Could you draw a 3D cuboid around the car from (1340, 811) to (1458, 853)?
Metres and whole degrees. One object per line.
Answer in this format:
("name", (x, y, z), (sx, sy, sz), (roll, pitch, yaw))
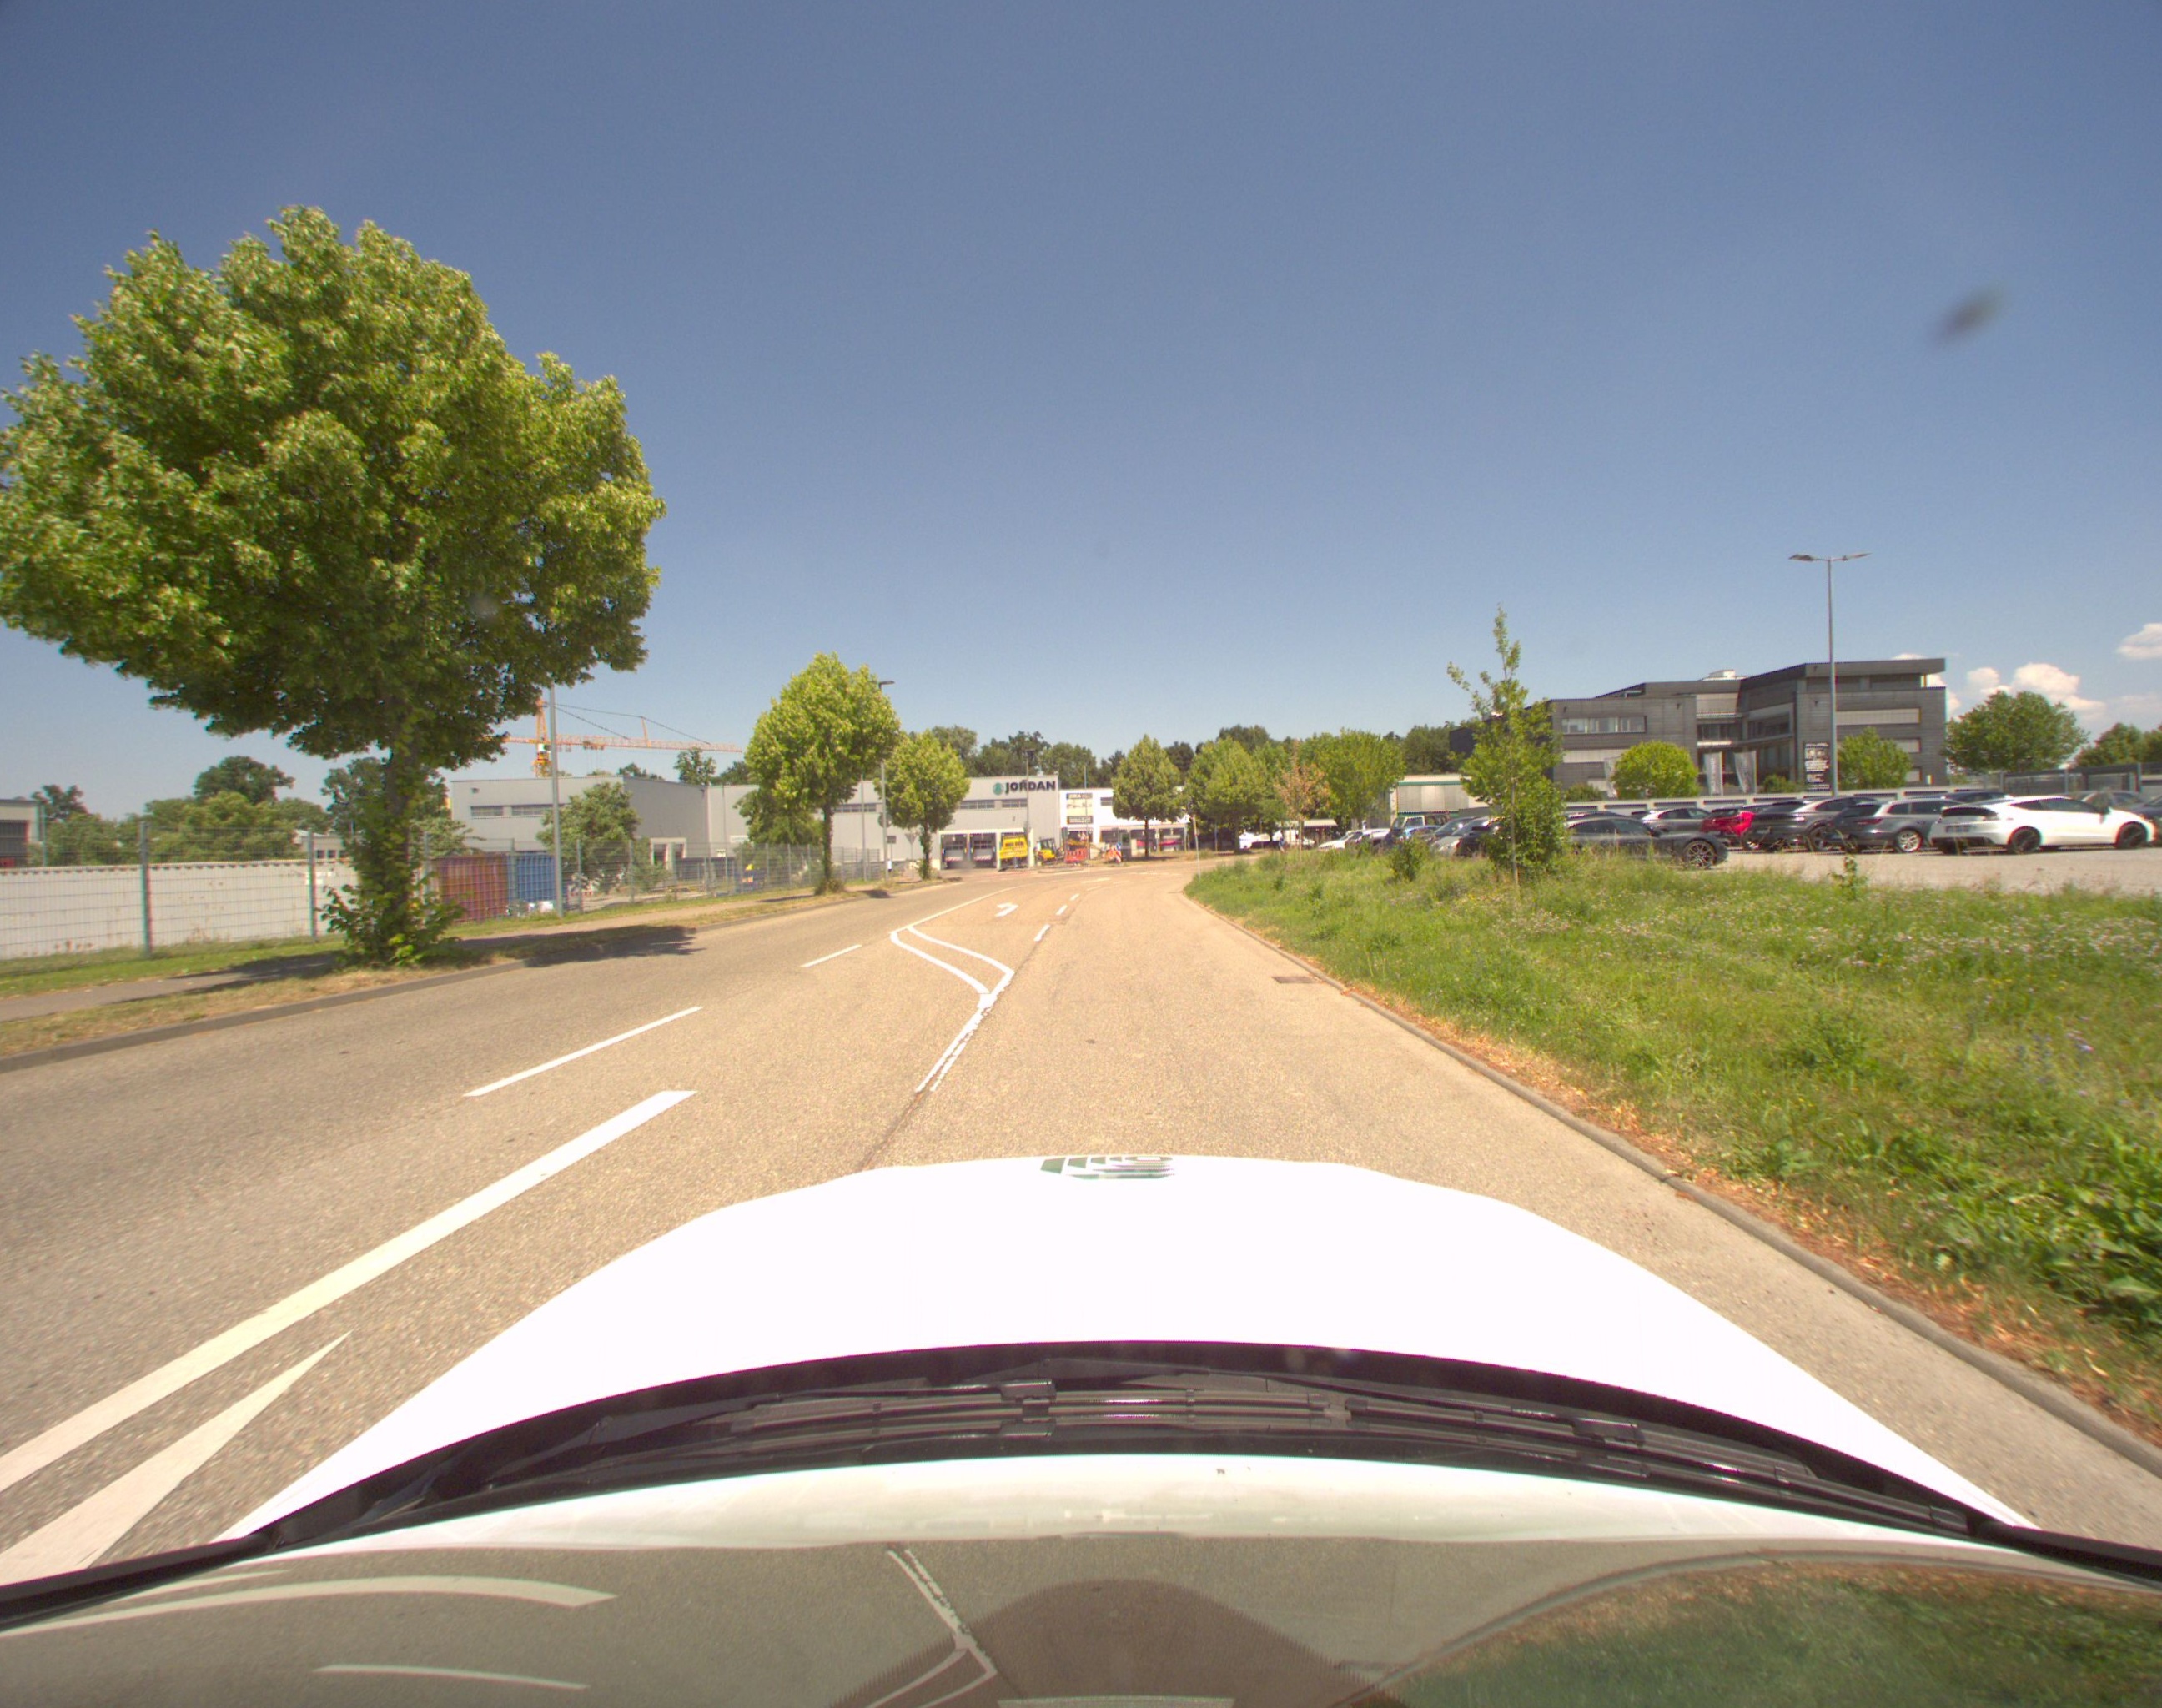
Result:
("car", (13.070, -0.940, 33.601), (4.152, 1.400, 1.768), (-4, 4, -2))

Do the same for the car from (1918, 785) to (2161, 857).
("car", (22.967, -0.815, 19.574), (3.975, 1.400, 1.769), (-4, 4, -1))

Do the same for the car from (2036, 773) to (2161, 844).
("car", (27.762, -1.227, 21.170), (3.977, 1.595, 1.768), (-4, 4, -2))

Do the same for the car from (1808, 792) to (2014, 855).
("car", (22.598, -0.866, 22.269), (3.977, 1.400, 1.768), (-4, 4, -2))

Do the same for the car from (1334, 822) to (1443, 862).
("car", (13.638, -0.554, 36.213), (4.152, 1.400, 1.768), (-4, 4, -2))

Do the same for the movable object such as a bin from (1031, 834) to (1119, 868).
("movable object such as a bin", (-0.497, -0.345, 75.178), (7.481, 2.499, 3.677), (-3, 4, 9))

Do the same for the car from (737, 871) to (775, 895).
("car", (-28.973, 2.570, 72.782), (1.991, 1.551, 3.994), (-4, 4, -5))

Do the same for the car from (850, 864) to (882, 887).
("car", (-19.409, 1.927, 73.638), (1.991, 1.551, 3.994), (-4, 4, -5))

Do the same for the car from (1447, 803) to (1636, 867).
("car", (12.399, -0.564, 22.075), (4.152, 1.400, 1.768), (-4, 4, -2))

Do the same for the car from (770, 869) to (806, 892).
("car", (-26.359, 2.370, 73.337), (1.991, 1.551, 3.994), (-4, 4, -5))

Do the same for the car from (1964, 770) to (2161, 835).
("car", (28.780, -1.524, 23.898), (3.977, 1.595, 1.768), (-4, 4, -2))

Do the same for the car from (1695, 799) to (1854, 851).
("car", (23.416, -1.011, 27.592), (3.977, 1.461, 1.768), (-4, 4, -2))

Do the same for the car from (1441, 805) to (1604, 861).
("car", (13.656, -0.692, 25.321), (4.152, 1.400, 1.768), (-4, 4, -2))

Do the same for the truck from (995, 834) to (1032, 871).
("truck", (-6.253, -0.227, 74.917), (2.936, 2.885, 5.797), (-4, 4, -7))

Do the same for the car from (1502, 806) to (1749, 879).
("car", (13.050, -0.316, 19.750), (4.684, 1.400, 1.924), (-3, 4, 3))

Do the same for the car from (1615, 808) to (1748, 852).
("car", (23.385, -0.970, 31.791), (3.977, 1.400, 1.768), (-4, 4, -2))

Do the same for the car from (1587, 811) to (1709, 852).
("car", (23.961, -0.977, 34.492), (3.977, 1.400, 1.768), (-4, 4, -2))

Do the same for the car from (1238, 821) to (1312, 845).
("car", (19.789, -2.114, 83.371), (7.139, 2.088, 2.002), (-3, 0, 4))

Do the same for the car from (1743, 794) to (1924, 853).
("car", (22.830, -0.952, 24.803), (3.977, 1.489, 1.768), (-4, 4, -2))

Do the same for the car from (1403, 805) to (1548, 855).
("car", (13.498, -0.863, 28.000), (4.152, 1.400, 1.768), (-4, 4, -2))

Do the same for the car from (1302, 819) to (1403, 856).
("car", (12.805, -0.811, 38.597), (4.152, 1.400, 1.768), (-4, 4, -2))

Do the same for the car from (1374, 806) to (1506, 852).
("car", (13.361, -0.957, 30.470), (4.152, 1.400, 1.768), (-4, 4, -2))

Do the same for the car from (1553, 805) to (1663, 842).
("car", (24.358, -1.435, 37.701), (3.977, 1.400, 1.768), (-4, 4, -2))
